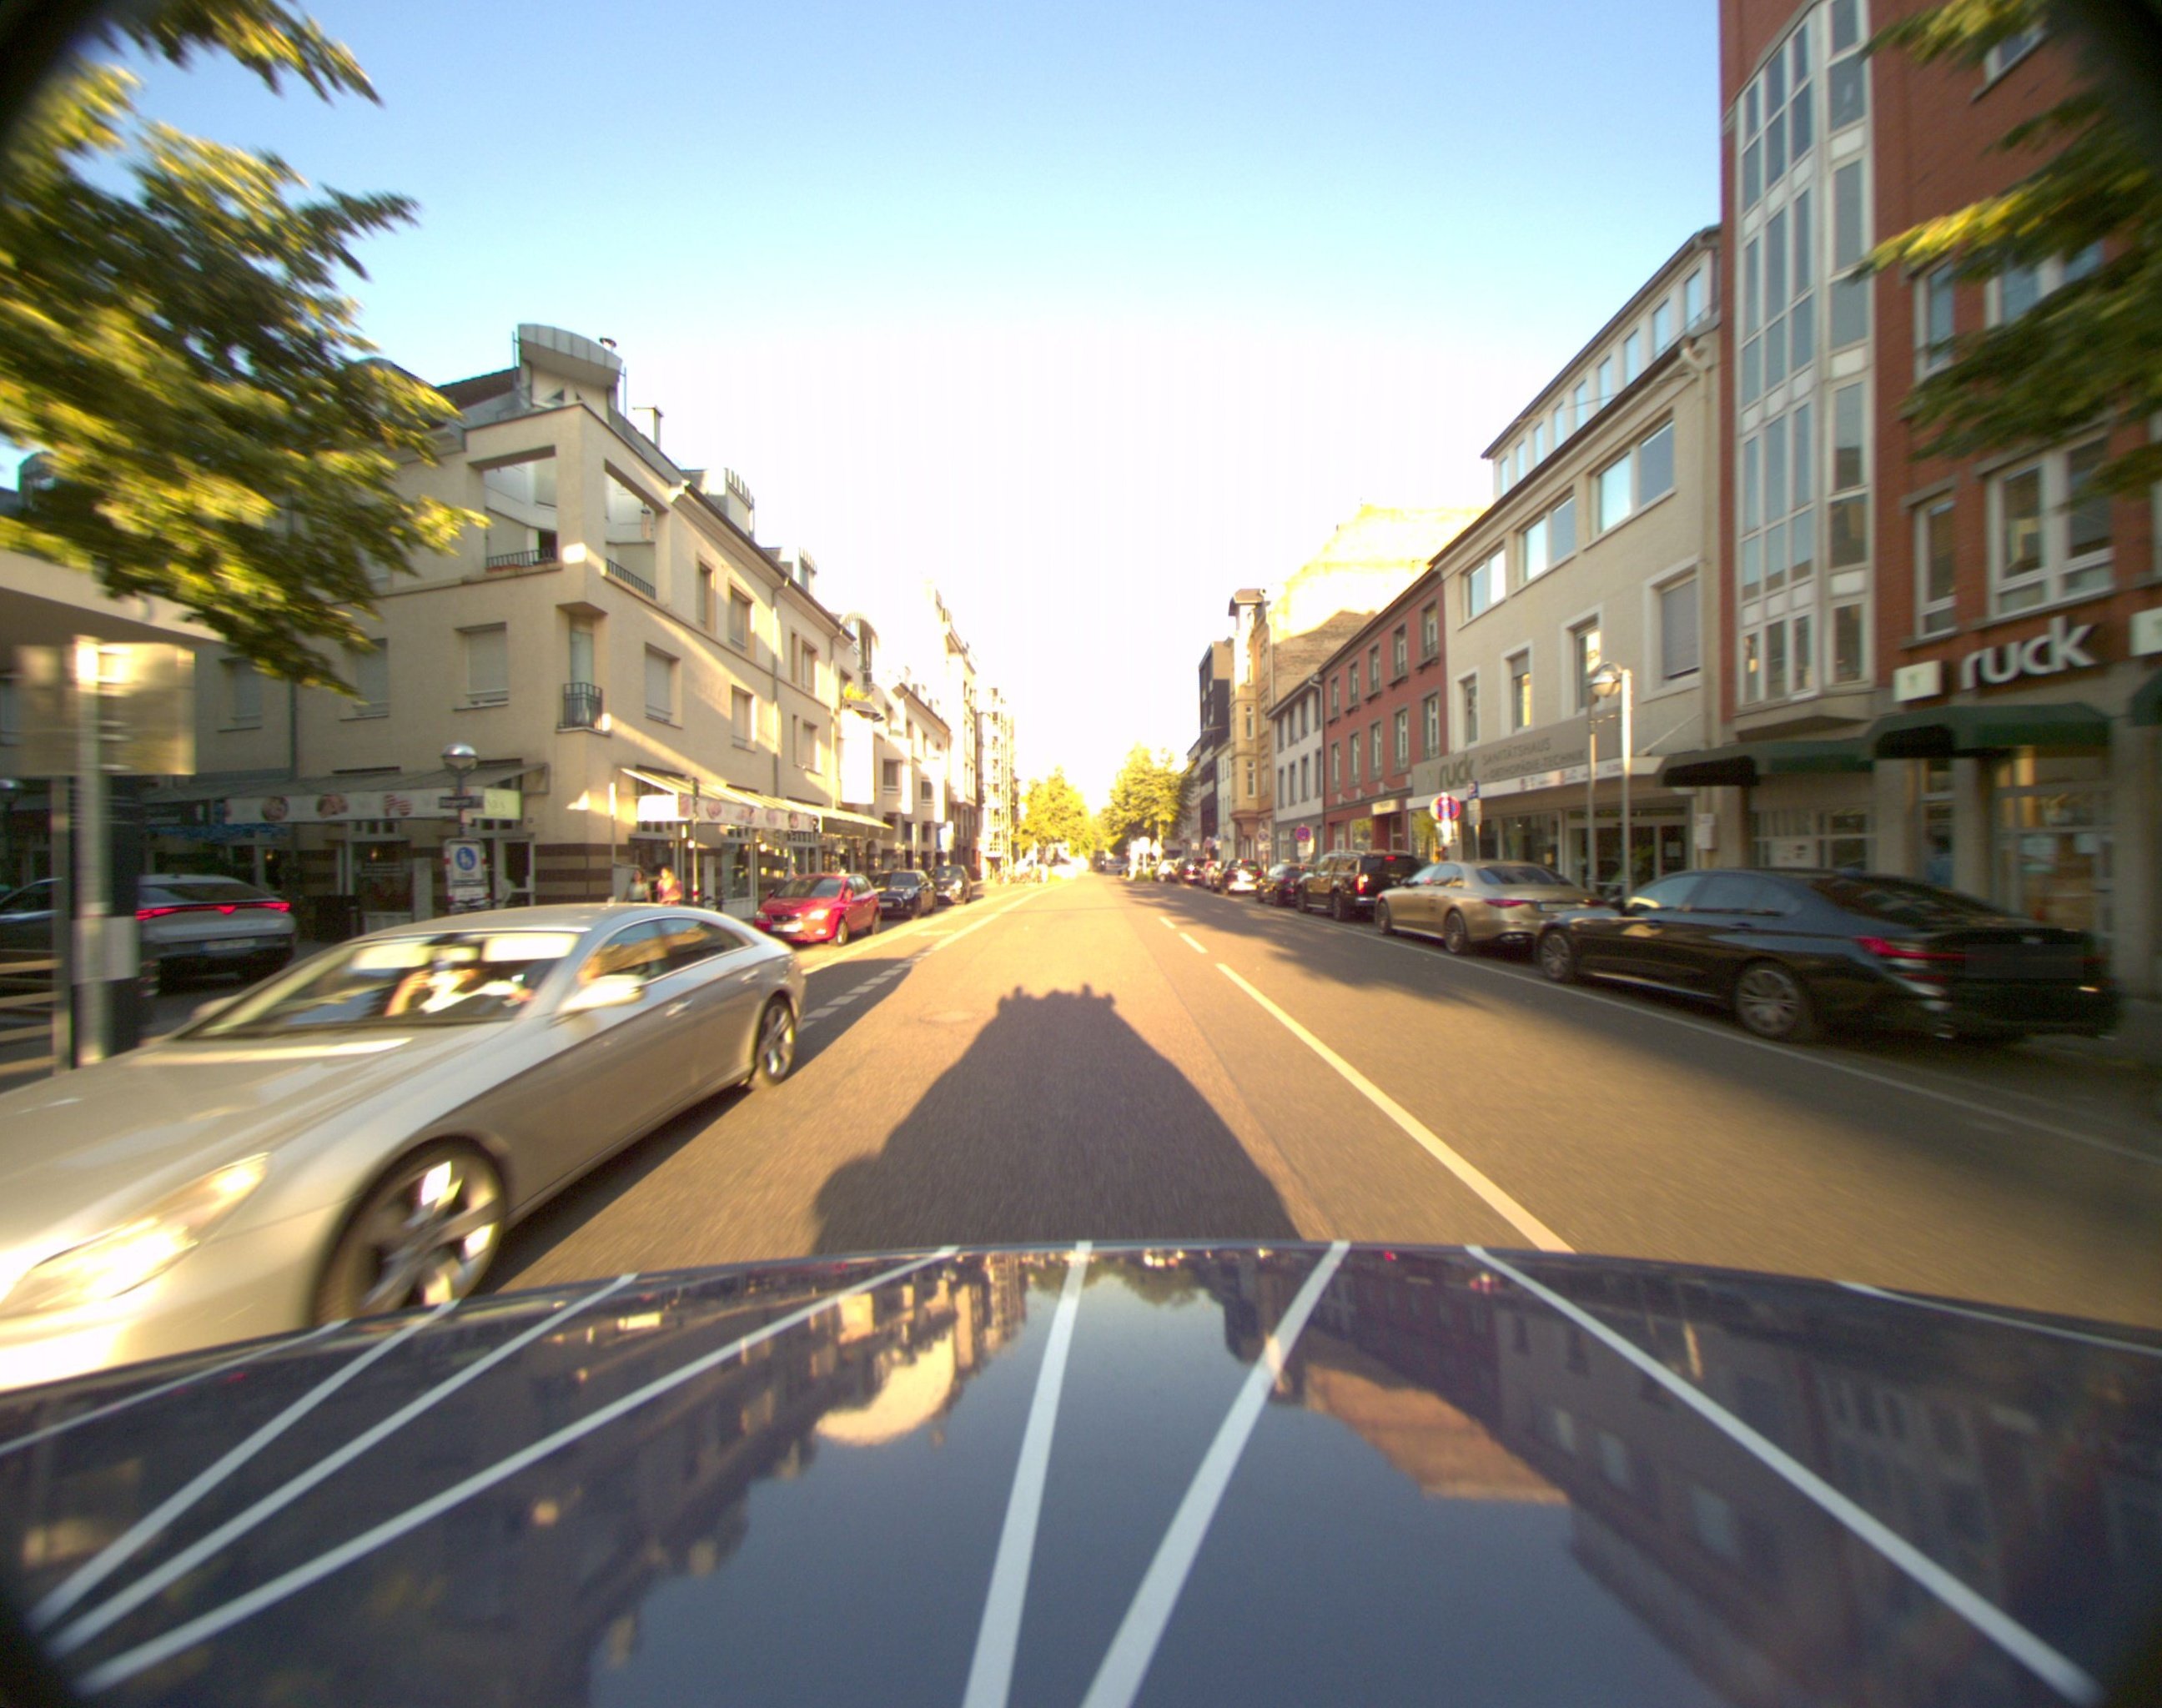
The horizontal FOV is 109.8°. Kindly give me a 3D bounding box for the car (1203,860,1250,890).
[{"bbox_3d":[7.430,1.038,39.146,1.770,1.455,3.867,0,0,2],"label":"car"}]

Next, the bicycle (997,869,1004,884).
[{"bbox_3d":[-5.526,1.539,52.230,0.470,0.952,1.918,-1,0,-6],"label":"bicycle"}]

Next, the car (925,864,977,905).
[{"bbox_3d":[-5.103,1.160,30.072,1.571,1.540,2.803,0,0,0],"label":"car"}]

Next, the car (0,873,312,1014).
[{"bbox_3d":[-13.241,1.103,10.508,4.175,1.602,1.859,0,0,16],"label":"car"}]

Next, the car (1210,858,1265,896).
[{"bbox_3d":[7.079,0.999,34.758,1.770,1.604,4.218,0,0,2],"label":"car"}]

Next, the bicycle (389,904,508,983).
[{"bbox_3d":[-9.982,1.378,12.087,0.392,1.027,1.844,-1,0,-2],"label":"bicycle"}]

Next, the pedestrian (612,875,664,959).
[{"bbox_3d":[-8.395,1.178,14.406,0.541,1.521,0.651,-1,0,6],"label":"pedestrian"}]

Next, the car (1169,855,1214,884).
[{"bbox_3d":[6.907,0.937,47.977,2.055,1.742,4.216,0,0,-2],"label":"car"}]

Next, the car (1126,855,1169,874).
[{"bbox_3d":[6.976,1.052,80.114,4.192,1.971,2.055,0,0,-4],"label":"car"}]

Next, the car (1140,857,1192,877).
[{"bbox_3d":[6.867,1.030,61.832,3.911,1.572,1.959,0,0,-4],"label":"car"}]

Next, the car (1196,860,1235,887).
[{"bbox_3d":[7.611,1.066,43.128,1.689,1.455,3.542,0,0,2],"label":"car"}]

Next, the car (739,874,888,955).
[{"bbox_3d":[-5.489,1.179,16.158,1.727,1.413,4.032,0,0,0],"label":"car"}]

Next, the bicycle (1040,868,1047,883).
[{"bbox_3d":[-2.597,1.471,52.702,0.470,0.952,1.918,-1,0,-4],"label":"bicycle"}]

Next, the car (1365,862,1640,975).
[{"bbox_3d":[6.744,0.914,13.008,1.998,1.502,5.113,0,0,2],"label":"car"}]

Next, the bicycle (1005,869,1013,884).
[{"bbox_3d":[-4.931,1.515,52.130,0.470,0.952,1.918,-1,0,-4],"label":"bicycle"}]

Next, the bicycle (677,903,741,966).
[{"bbox_3d":[-6.648,1.410,13.636,0.392,0.950,1.615,-1,0,-2],"label":"bicycle"}]

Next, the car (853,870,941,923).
[{"bbox_3d":[-5.427,1.218,22.910,1.727,1.413,3.749,0,0,0],"label":"car"}]

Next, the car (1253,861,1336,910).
[{"bbox_3d":[7.215,1.012,26.099,1.770,1.502,4.218,0,0,2],"label":"car"}]

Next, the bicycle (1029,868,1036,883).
[{"bbox_3d":[-3.348,1.471,52.593,0.470,0.952,1.918,-1,0,-4],"label":"bicycle"}]

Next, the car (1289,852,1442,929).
[{"bbox_3d":[7.220,0.837,20.010,1.999,1.759,5.299,0,0,-1],"label":"car"}]

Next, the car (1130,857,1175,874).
[{"bbox_3d":[7.038,1.155,74.988,4.132,1.666,1.996,0,0,-3],"label":"car"}]

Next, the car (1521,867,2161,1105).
[{"bbox_3d":[6.509,0.902,7.298,1.919,1.502,4.639,0,0,1],"label":"car"}]

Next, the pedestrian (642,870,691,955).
[{"bbox_3d":[-7.688,1.071,14.100,0.541,1.521,0.554,-1,0,6],"label":"pedestrian"}]

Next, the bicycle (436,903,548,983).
[{"bbox_3d":[-9.304,1.367,12.087,0.392,1.044,1.844,-1,0,-2],"label":"bicycle"}]

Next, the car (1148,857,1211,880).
[{"bbox_3d":[6.983,1.035,54.141,4.192,1.572,2.055,0,0,-4],"label":"car"}]

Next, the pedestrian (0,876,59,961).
[{"bbox_3d":[-21.354,1.279,15.123,0.916,1.635,0.758,-1,0,-12],"label":"pedestrian"}]

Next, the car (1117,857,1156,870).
[{"bbox_3d":[6.734,1.118,92.245,4.197,1.618,2.053,0,0,-16],"label":"car"}]

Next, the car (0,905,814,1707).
[{"bbox_3d":[-3.073,1.122,3.785,1.805,1.369,4.552,-3,0,0],"label":"car"}]

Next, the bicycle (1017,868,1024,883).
[{"bbox_3d":[-4.150,1.477,52.439,0.470,0.952,1.918,-1,0,-4],"label":"bicycle"}]

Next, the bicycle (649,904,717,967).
[{"bbox_3d":[-7.091,1.430,13.609,0.392,0.951,1.639,-1,0,-2],"label":"bicycle"}]
